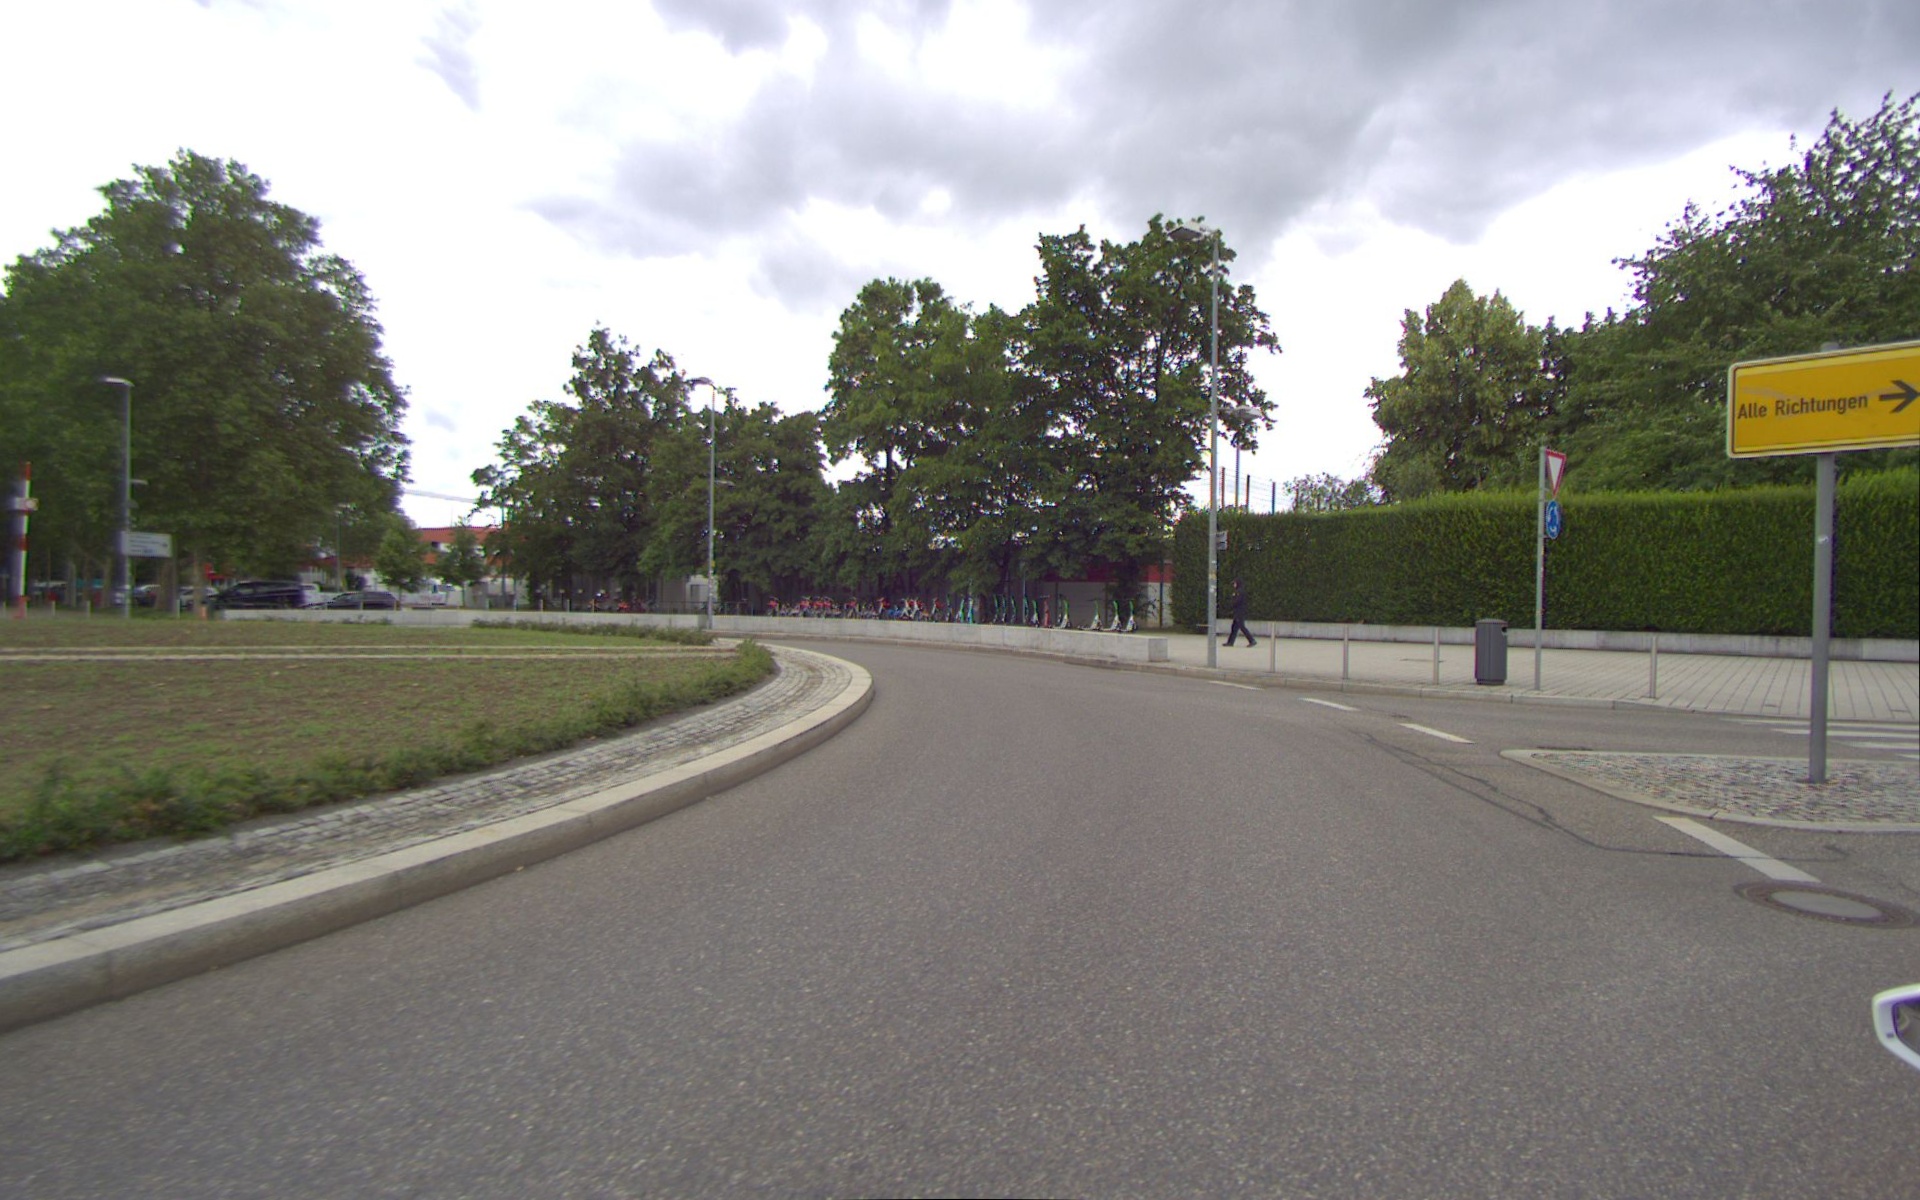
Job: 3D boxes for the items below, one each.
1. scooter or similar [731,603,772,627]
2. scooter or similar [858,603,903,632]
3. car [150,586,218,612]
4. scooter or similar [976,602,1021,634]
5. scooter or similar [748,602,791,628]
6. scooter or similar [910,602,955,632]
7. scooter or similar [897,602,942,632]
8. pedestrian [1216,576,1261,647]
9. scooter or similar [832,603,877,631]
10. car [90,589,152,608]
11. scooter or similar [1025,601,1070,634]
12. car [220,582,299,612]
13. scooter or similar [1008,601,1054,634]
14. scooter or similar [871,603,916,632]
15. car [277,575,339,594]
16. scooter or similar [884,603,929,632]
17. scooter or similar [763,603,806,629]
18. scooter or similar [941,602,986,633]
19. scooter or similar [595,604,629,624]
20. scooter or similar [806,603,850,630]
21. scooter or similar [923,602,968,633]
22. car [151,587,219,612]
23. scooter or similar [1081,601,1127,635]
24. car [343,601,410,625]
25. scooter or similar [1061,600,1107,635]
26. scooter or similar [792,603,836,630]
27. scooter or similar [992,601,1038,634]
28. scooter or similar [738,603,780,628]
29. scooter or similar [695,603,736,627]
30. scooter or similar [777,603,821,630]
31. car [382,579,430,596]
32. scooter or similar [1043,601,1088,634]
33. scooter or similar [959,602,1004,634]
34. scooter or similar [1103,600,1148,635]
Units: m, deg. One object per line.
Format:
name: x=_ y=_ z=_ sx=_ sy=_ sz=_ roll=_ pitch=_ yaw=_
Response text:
scooter or similar: x=-9.969 y=0.704 z=48.016 sx=0.630 sy=1.124 sz=1.967 roll=0 pitch=0 yaw=38
scooter or similar: x=-3.201 y=0.679 z=40.474 sx=0.630 sy=1.124 sz=1.967 roll=0 pitch=0 yaw=38
car: x=-54.147 y=-0.065 z=70.109 sx=3.684 sy=1.801 sz=1.650 roll=-1 pitch=0 yaw=-43
scooter or similar: x=1.425 y=0.638 z=36.727 sx=0.630 sy=1.124 sz=1.967 roll=0 pitch=0 yaw=38
scooter or similar: x=-8.589 y=0.674 z=45.397 sx=0.630 sy=1.124 sz=1.967 roll=0 pitch=0 yaw=38
scooter or similar: x=-1.039 y=0.646 z=38.715 sx=0.630 sy=1.124 sz=1.967 roll=0 pitch=0 yaw=38
scooter or similar: x=-1.555 y=0.666 z=39.142 sx=0.630 sy=1.124 sz=1.967 roll=0 pitch=0 yaw=38
pedestrian: x=7.328 y=0.299 z=26.445 sx=0.785 sy=1.832 sz=0.858 roll=-1 pitch=0 yaw=-33
scooter or similar: x=-4.327 y=0.685 z=41.352 sx=0.630 sy=1.124 sz=1.967 roll=0 pitch=0 yaw=38
car: x=-70.644 y=-0.150 z=84.592 sx=3.975 sy=1.539 sz=1.850 roll=-1 pitch=0 yaw=-41
scooter or similar: x=3.097 y=0.610 z=35.377 sx=0.630 sy=1.124 sz=1.967 roll=0 pitch=0 yaw=38
car: x=-42.813 y=-0.178 z=61.449 sx=1.647 sy=1.801 sz=3.691 roll=0 pitch=0 yaw=42
scooter or similar: x=2.551 y=0.616 z=35.801 sx=0.630 sy=1.124 sz=1.967 roll=0 pitch=0 yaw=38
scooter or similar: x=-2.651 y=0.683 z=40.013 sx=0.630 sy=1.124 sz=1.967 roll=0 pitch=0 yaw=38
car: x=-60.084 y=-1.409 z=92.611 sx=1.769 sy=1.674 sz=4.418 roll=0 pitch=0 yaw=38
scooter or similar: x=-2.101 y=0.672 z=39.578 sx=0.630 sy=1.124 sz=1.967 roll=0 pitch=0 yaw=38
scooter or similar: x=-7.753 y=0.692 z=44.372 sx=0.630 sy=1.124 sz=1.967 roll=0 pitch=0 yaw=38
scooter or similar: x=0.140 y=0.657 z=37.770 sx=0.630 sy=1.124 sz=1.967 roll=0 pitch=0 yaw=38
scooter or similar: x=-20.023 y=0.808 z=57.808 sx=0.537 sy=1.109 sz=1.802 roll=0 pitch=0 yaw=38
scooter or similar: x=-5.592 y=0.680 z=42.492 sx=0.630 sy=1.124 sz=1.967 roll=0 pitch=0 yaw=38
scooter or similar: x=-0.530 y=0.645 z=38.284 sx=0.630 sy=1.124 sz=1.967 roll=0 pitch=0 yaw=38
car: x=-55.535 y=-0.049 z=72.017 sx=3.685 sy=1.801 sz=1.649 roll=-1 pitch=0 yaw=-43
scooter or similar: x=4.882 y=0.596 z=33.981 sx=0.630 sy=1.124 sz=1.967 roll=0 pitch=0 yaw=38
car: x=-39.880 y=0.883 z=68.650 sx=3.684 sy=1.556 sz=1.650 roll=-1 pitch=0 yaw=-43
scooter or similar: x=4.263 y=0.587 z=34.474 sx=0.630 sy=1.124 sz=1.967 roll=0 pitch=0 yaw=38
scooter or similar: x=-6.260 y=0.698 z=43.059 sx=0.630 sy=1.124 sz=1.967 roll=0 pitch=0 yaw=38
scooter or similar: x=1.996 y=0.621 z=36.227 sx=0.630 sy=1.124 sz=1.967 roll=0 pitch=0 yaw=38
scooter or similar: x=-9.179 y=0.692 z=45.883 sx=0.630 sy=1.119 sz=1.967 roll=0 pitch=0 yaw=38
scooter or similar: x=-12.019 y=0.716 z=49.421 sx=0.630 sy=1.124 sz=1.967 roll=0 pitch=0 yaw=38
scooter or similar: x=-7.003 y=0.692 z=43.774 sx=0.630 sy=1.124 sz=1.967 roll=0 pitch=0 yaw=38
car: x=-57.335 y=-1.305 z=104.029 sx=1.769 sy=1.674 sz=3.939 roll=0 pitch=0 yaw=38
scooter or similar: x=3.680 y=0.596 z=34.902 sx=0.630 sy=1.124 sz=1.967 roll=0 pitch=0 yaw=38
scooter or similar: x=0.812 y=0.650 z=37.235 sx=0.630 sy=1.124 sz=1.967 roll=0 pitch=0 yaw=38
scooter or similar: x=5.525 y=0.579 z=33.453 sx=0.630 sy=1.124 sz=1.967 roll=0 pitch=0 yaw=38
